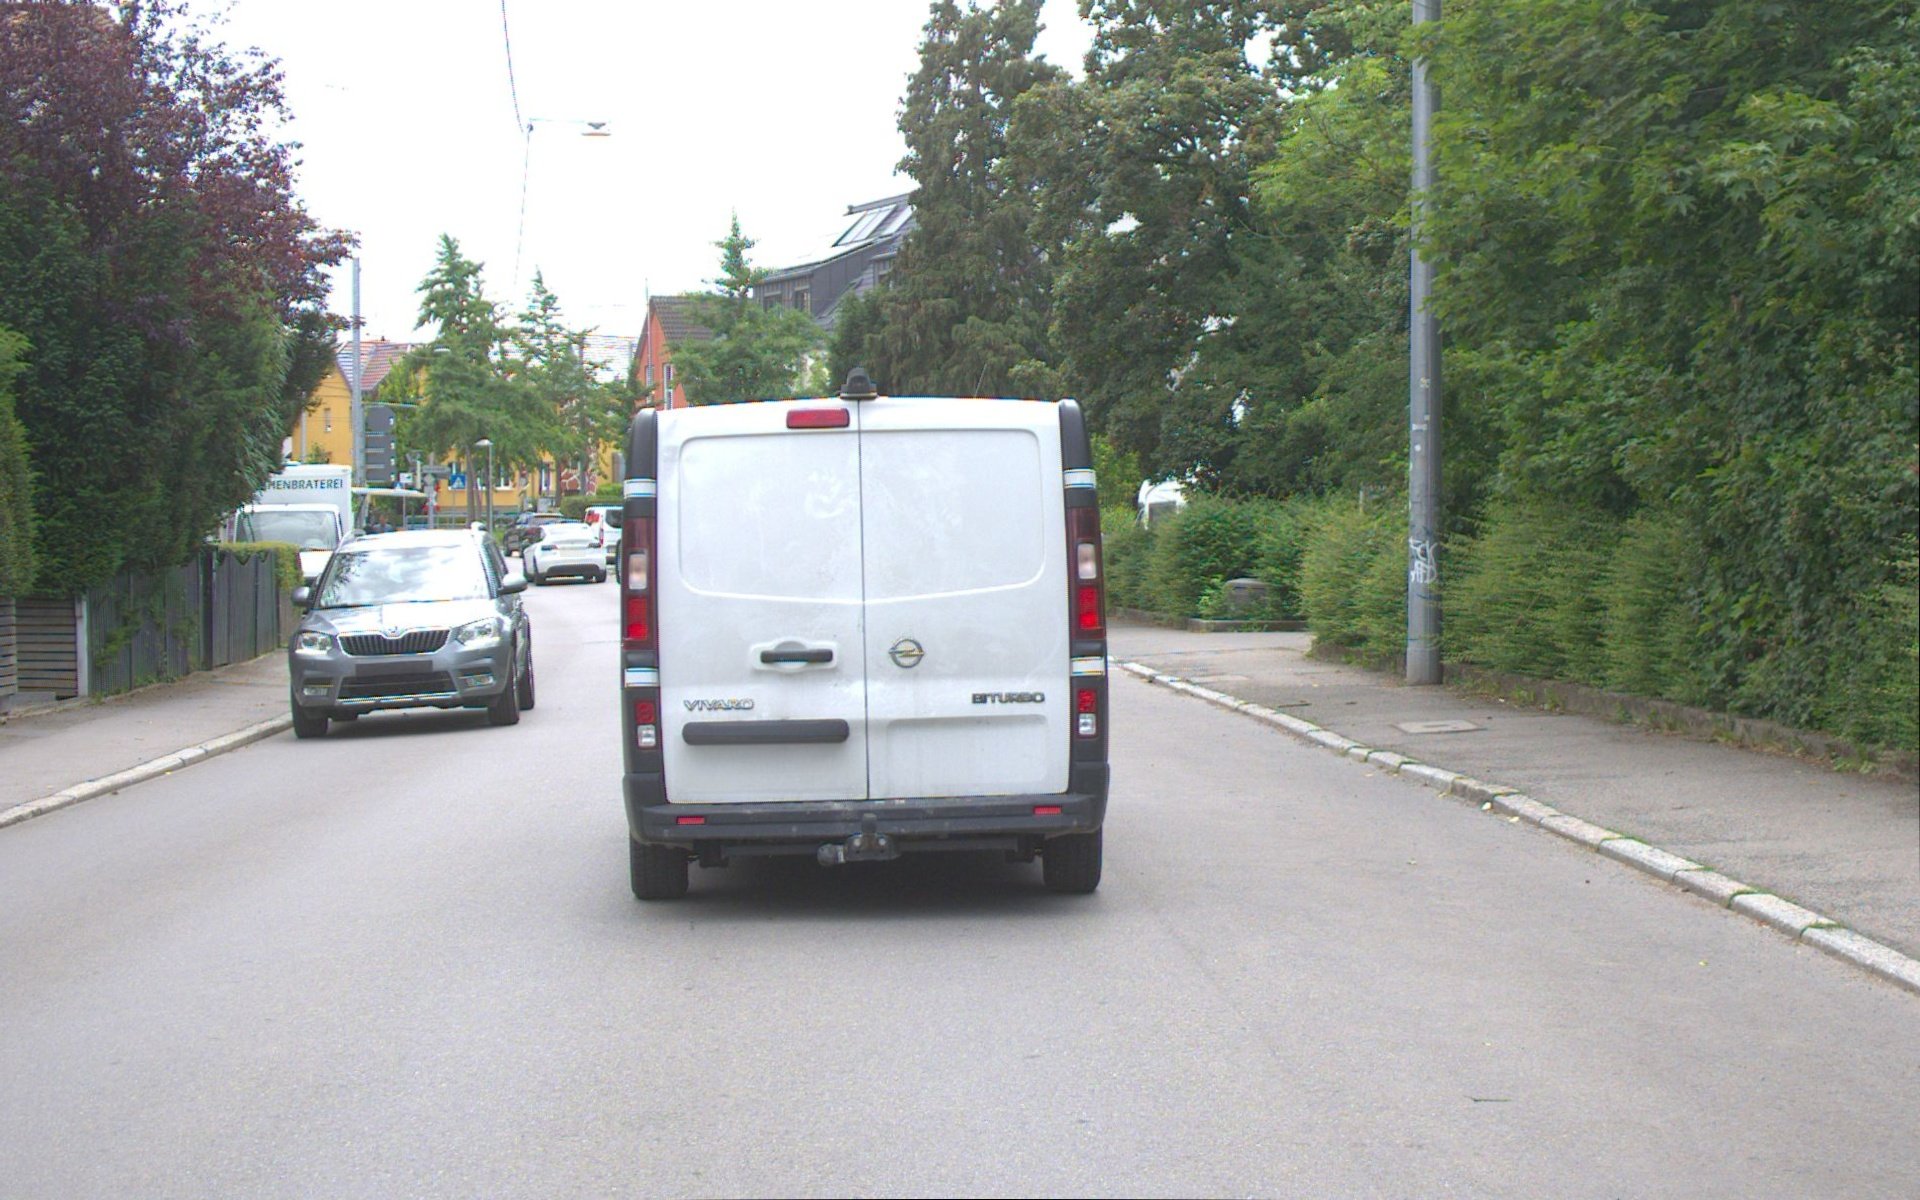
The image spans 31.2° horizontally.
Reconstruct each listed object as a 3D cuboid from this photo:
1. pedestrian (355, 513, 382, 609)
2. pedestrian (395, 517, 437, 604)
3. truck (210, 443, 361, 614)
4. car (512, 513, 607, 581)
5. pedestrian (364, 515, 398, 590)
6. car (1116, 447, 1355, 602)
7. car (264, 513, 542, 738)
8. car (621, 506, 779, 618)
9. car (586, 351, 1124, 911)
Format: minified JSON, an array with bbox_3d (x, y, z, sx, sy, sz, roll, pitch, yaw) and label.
[{"bbox_3d":[-10.554,-0.693,61.308,0.401,1.689,0.597,2,1,-12],"label":"pedestrian"},{"bbox_3d":[-10.758,-0.784,67.949,0.722,1.681,1.109,2,1,-7],"label":"pedestrian"},{"bbox_3d":[-11.933,-1.252,60.679,2.472,2.831,6.710,0,1,-12],"label":"truck"},{"bbox_3d":[-11.018,-1.474,94.314,1.993,1.776,4.001,-2,2,-15],"label":"car"},{"bbox_3d":[-15.136,-1.240,89.890,0.733,1.939,1.218,2,1,-6],"label":"pedestrian"},{"bbox_3d":[5.017,-1.386,63.539,2.496,2.672,5.188,2,1,-18],"label":"car"},{"bbox_3d":[-4.567,0.165,28.720,1.840,1.650,4.139,-3,1,-4],"label":"car"},{"bbox_3d":[-4.525,-0.678,59.334,1.993,1.842,4.001,-1,1,-15],"label":"car"},{"bbox_3d":[-0.505,0.073,14.653,1.915,1.996,4.438,-1,1,-3],"label":"car"}]
